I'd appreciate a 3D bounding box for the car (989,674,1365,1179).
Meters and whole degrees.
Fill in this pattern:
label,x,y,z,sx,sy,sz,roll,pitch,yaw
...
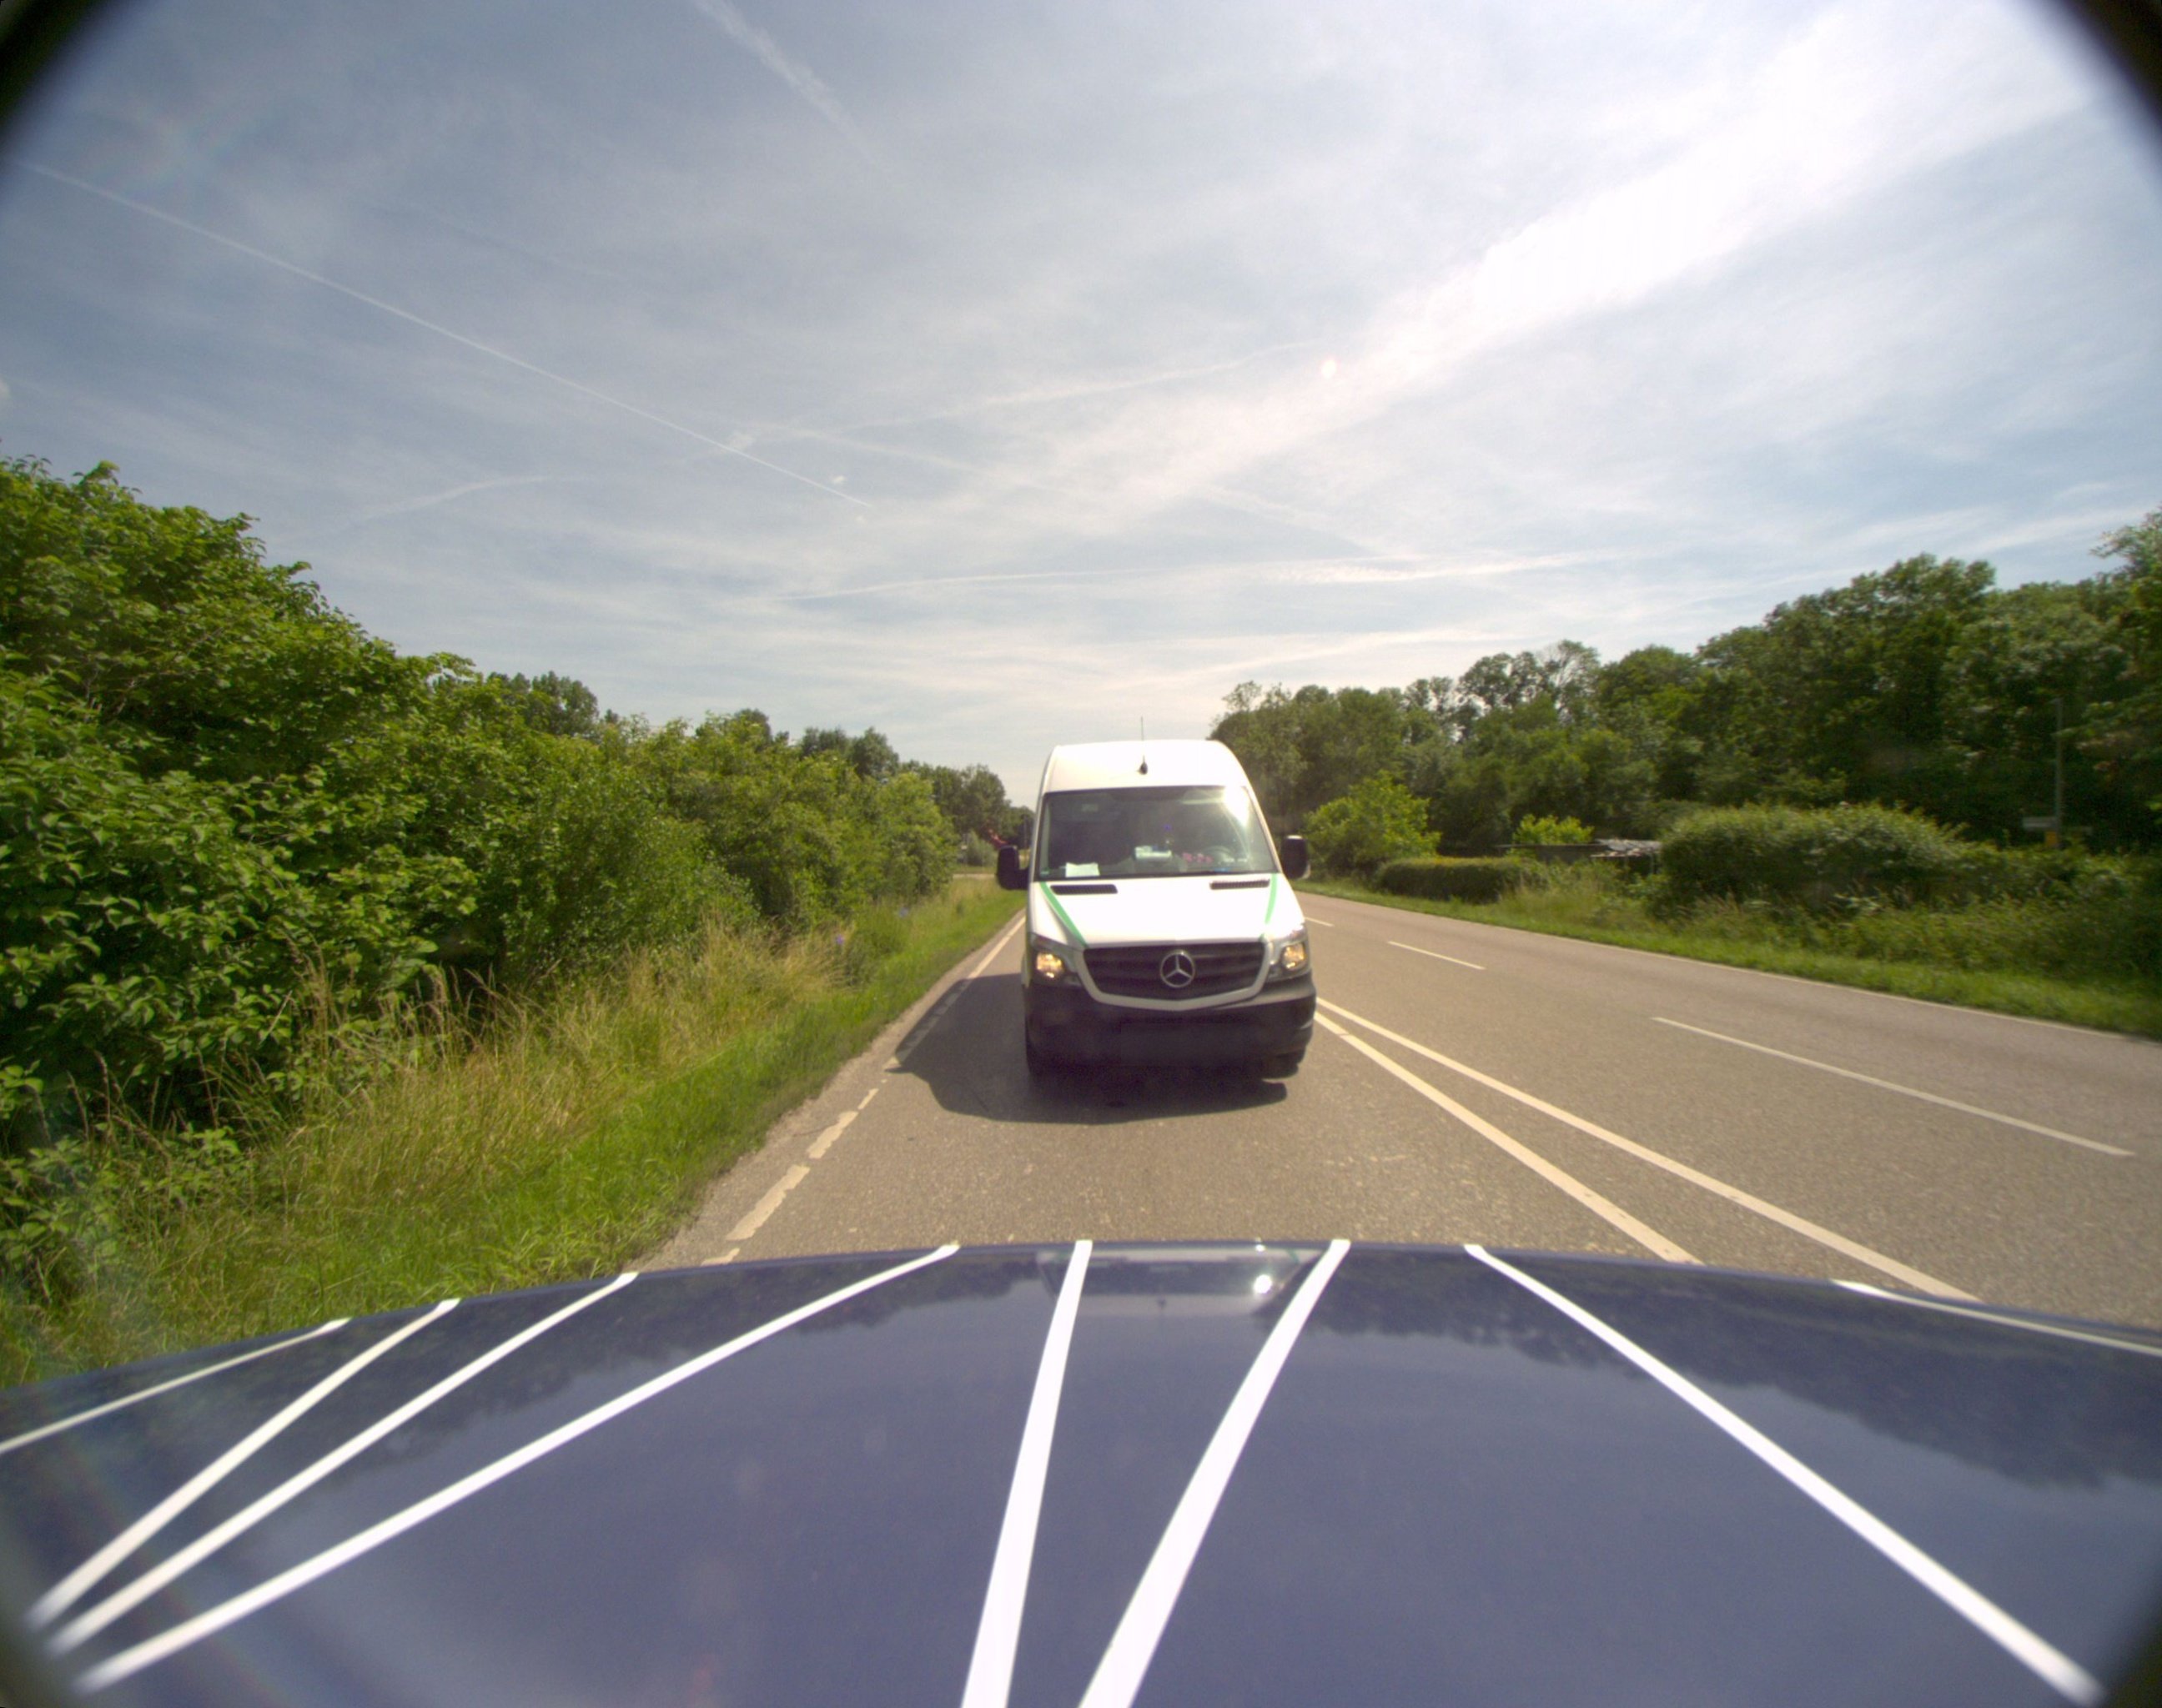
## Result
label,x,y,z,sx,sy,sz,roll,pitch,yaw
car,0.441,0.370,6.926,1.961,2.655,5.679,-2,0,-2

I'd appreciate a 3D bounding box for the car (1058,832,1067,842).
label,x,y,z,sx,sy,sz,roll,pitch,yaw
car,-4.311,-3.853,175.338,1.999,2.166,3.998,-2,2,-1

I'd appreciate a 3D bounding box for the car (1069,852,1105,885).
label,x,y,z,sx,sy,sz,roll,pitch,yaw
car,0.327,0.750,41.276,1.848,1.692,4.242,0,0,0
